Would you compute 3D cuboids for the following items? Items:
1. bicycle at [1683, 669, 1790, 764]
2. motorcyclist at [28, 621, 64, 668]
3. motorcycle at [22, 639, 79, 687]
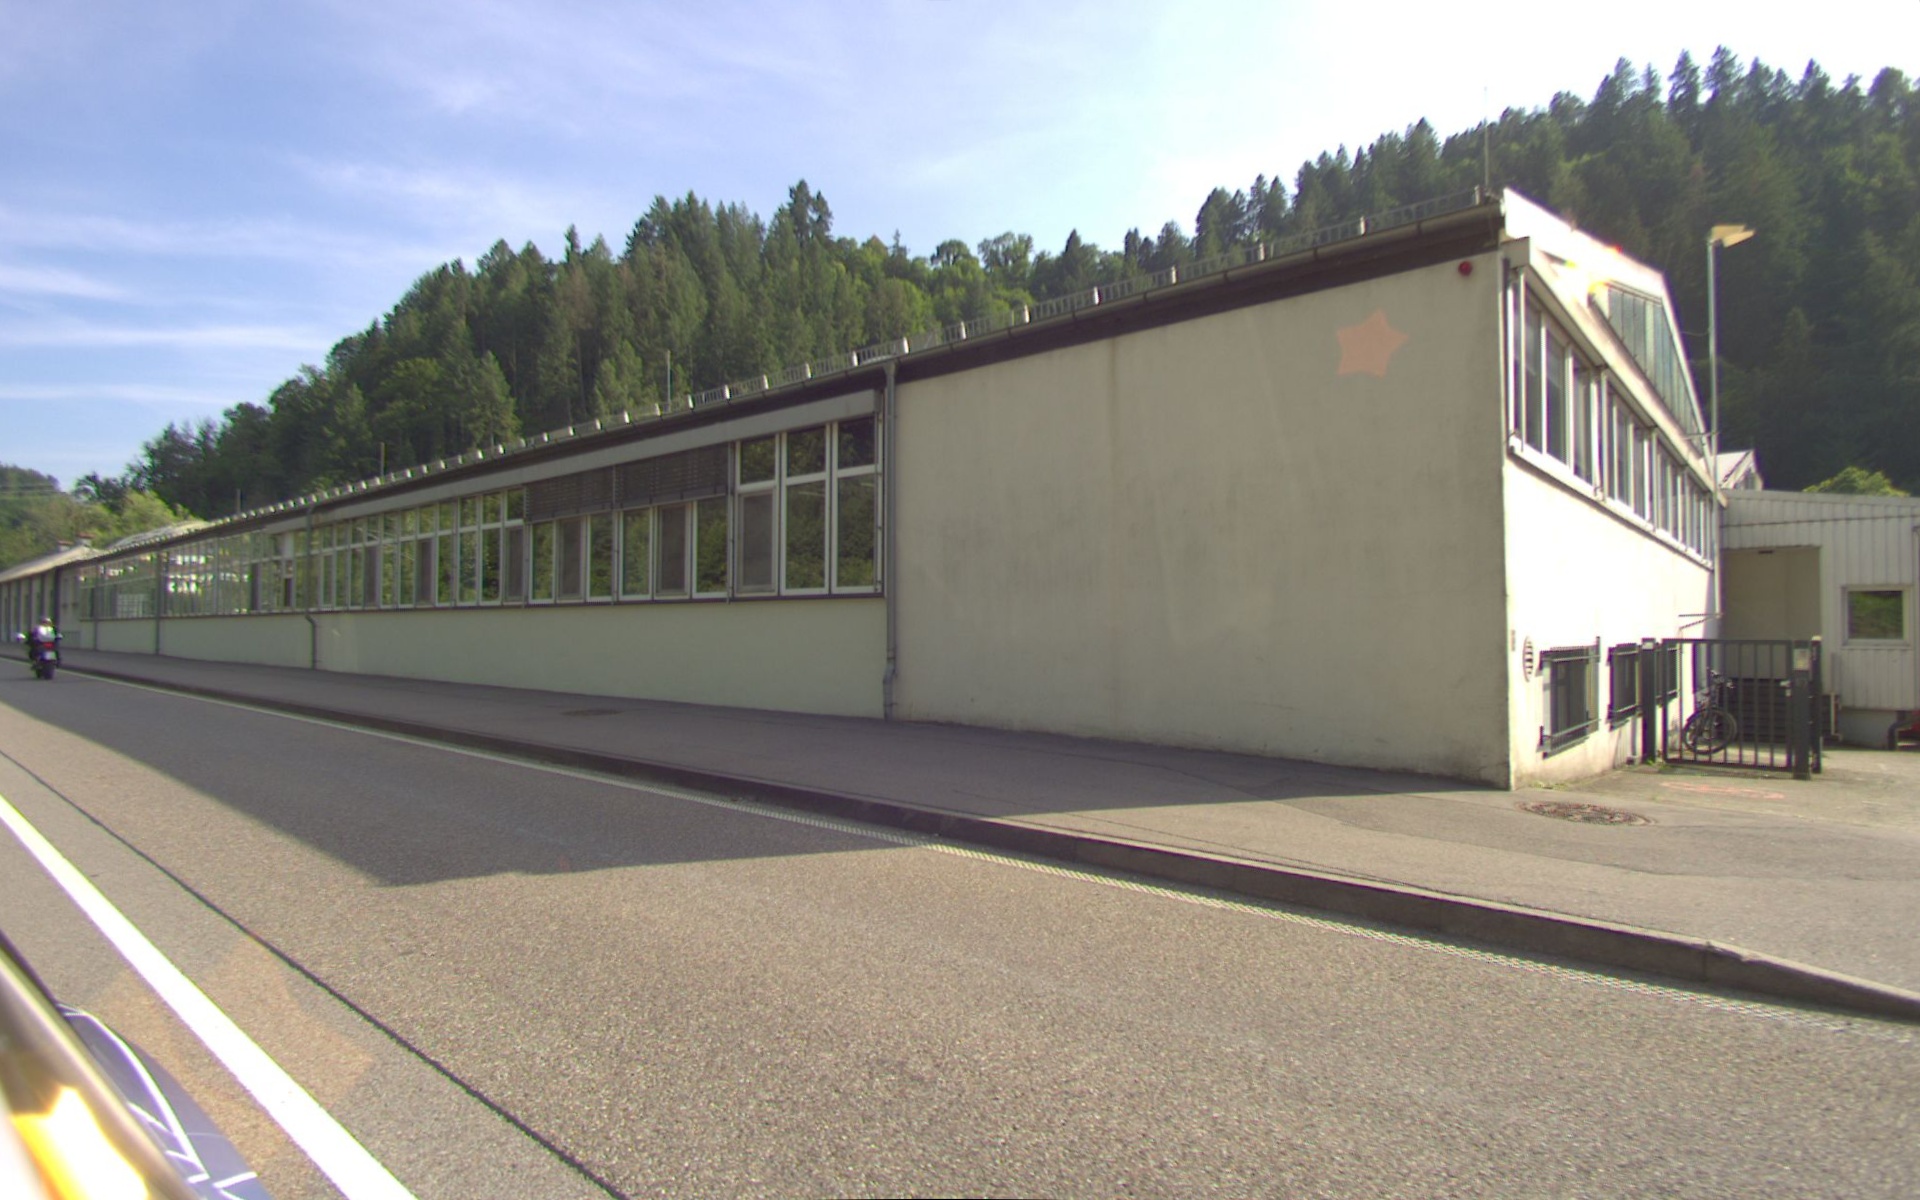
[{"bbox_3d":[11.647,1.705,15.276,1.039,1.270,2.471,-1,-4,32],"label":"bicycle"},{"bbox_3d":[-22.554,1.078,24.961,0.636,1.133,0.580,-1,-2,41],"label":"motorcyclist"},{"bbox_3d":[-22.281,1.516,24.770,2.491,1.076,0.733,-1,-2,41],"label":"motorcycle"}]
